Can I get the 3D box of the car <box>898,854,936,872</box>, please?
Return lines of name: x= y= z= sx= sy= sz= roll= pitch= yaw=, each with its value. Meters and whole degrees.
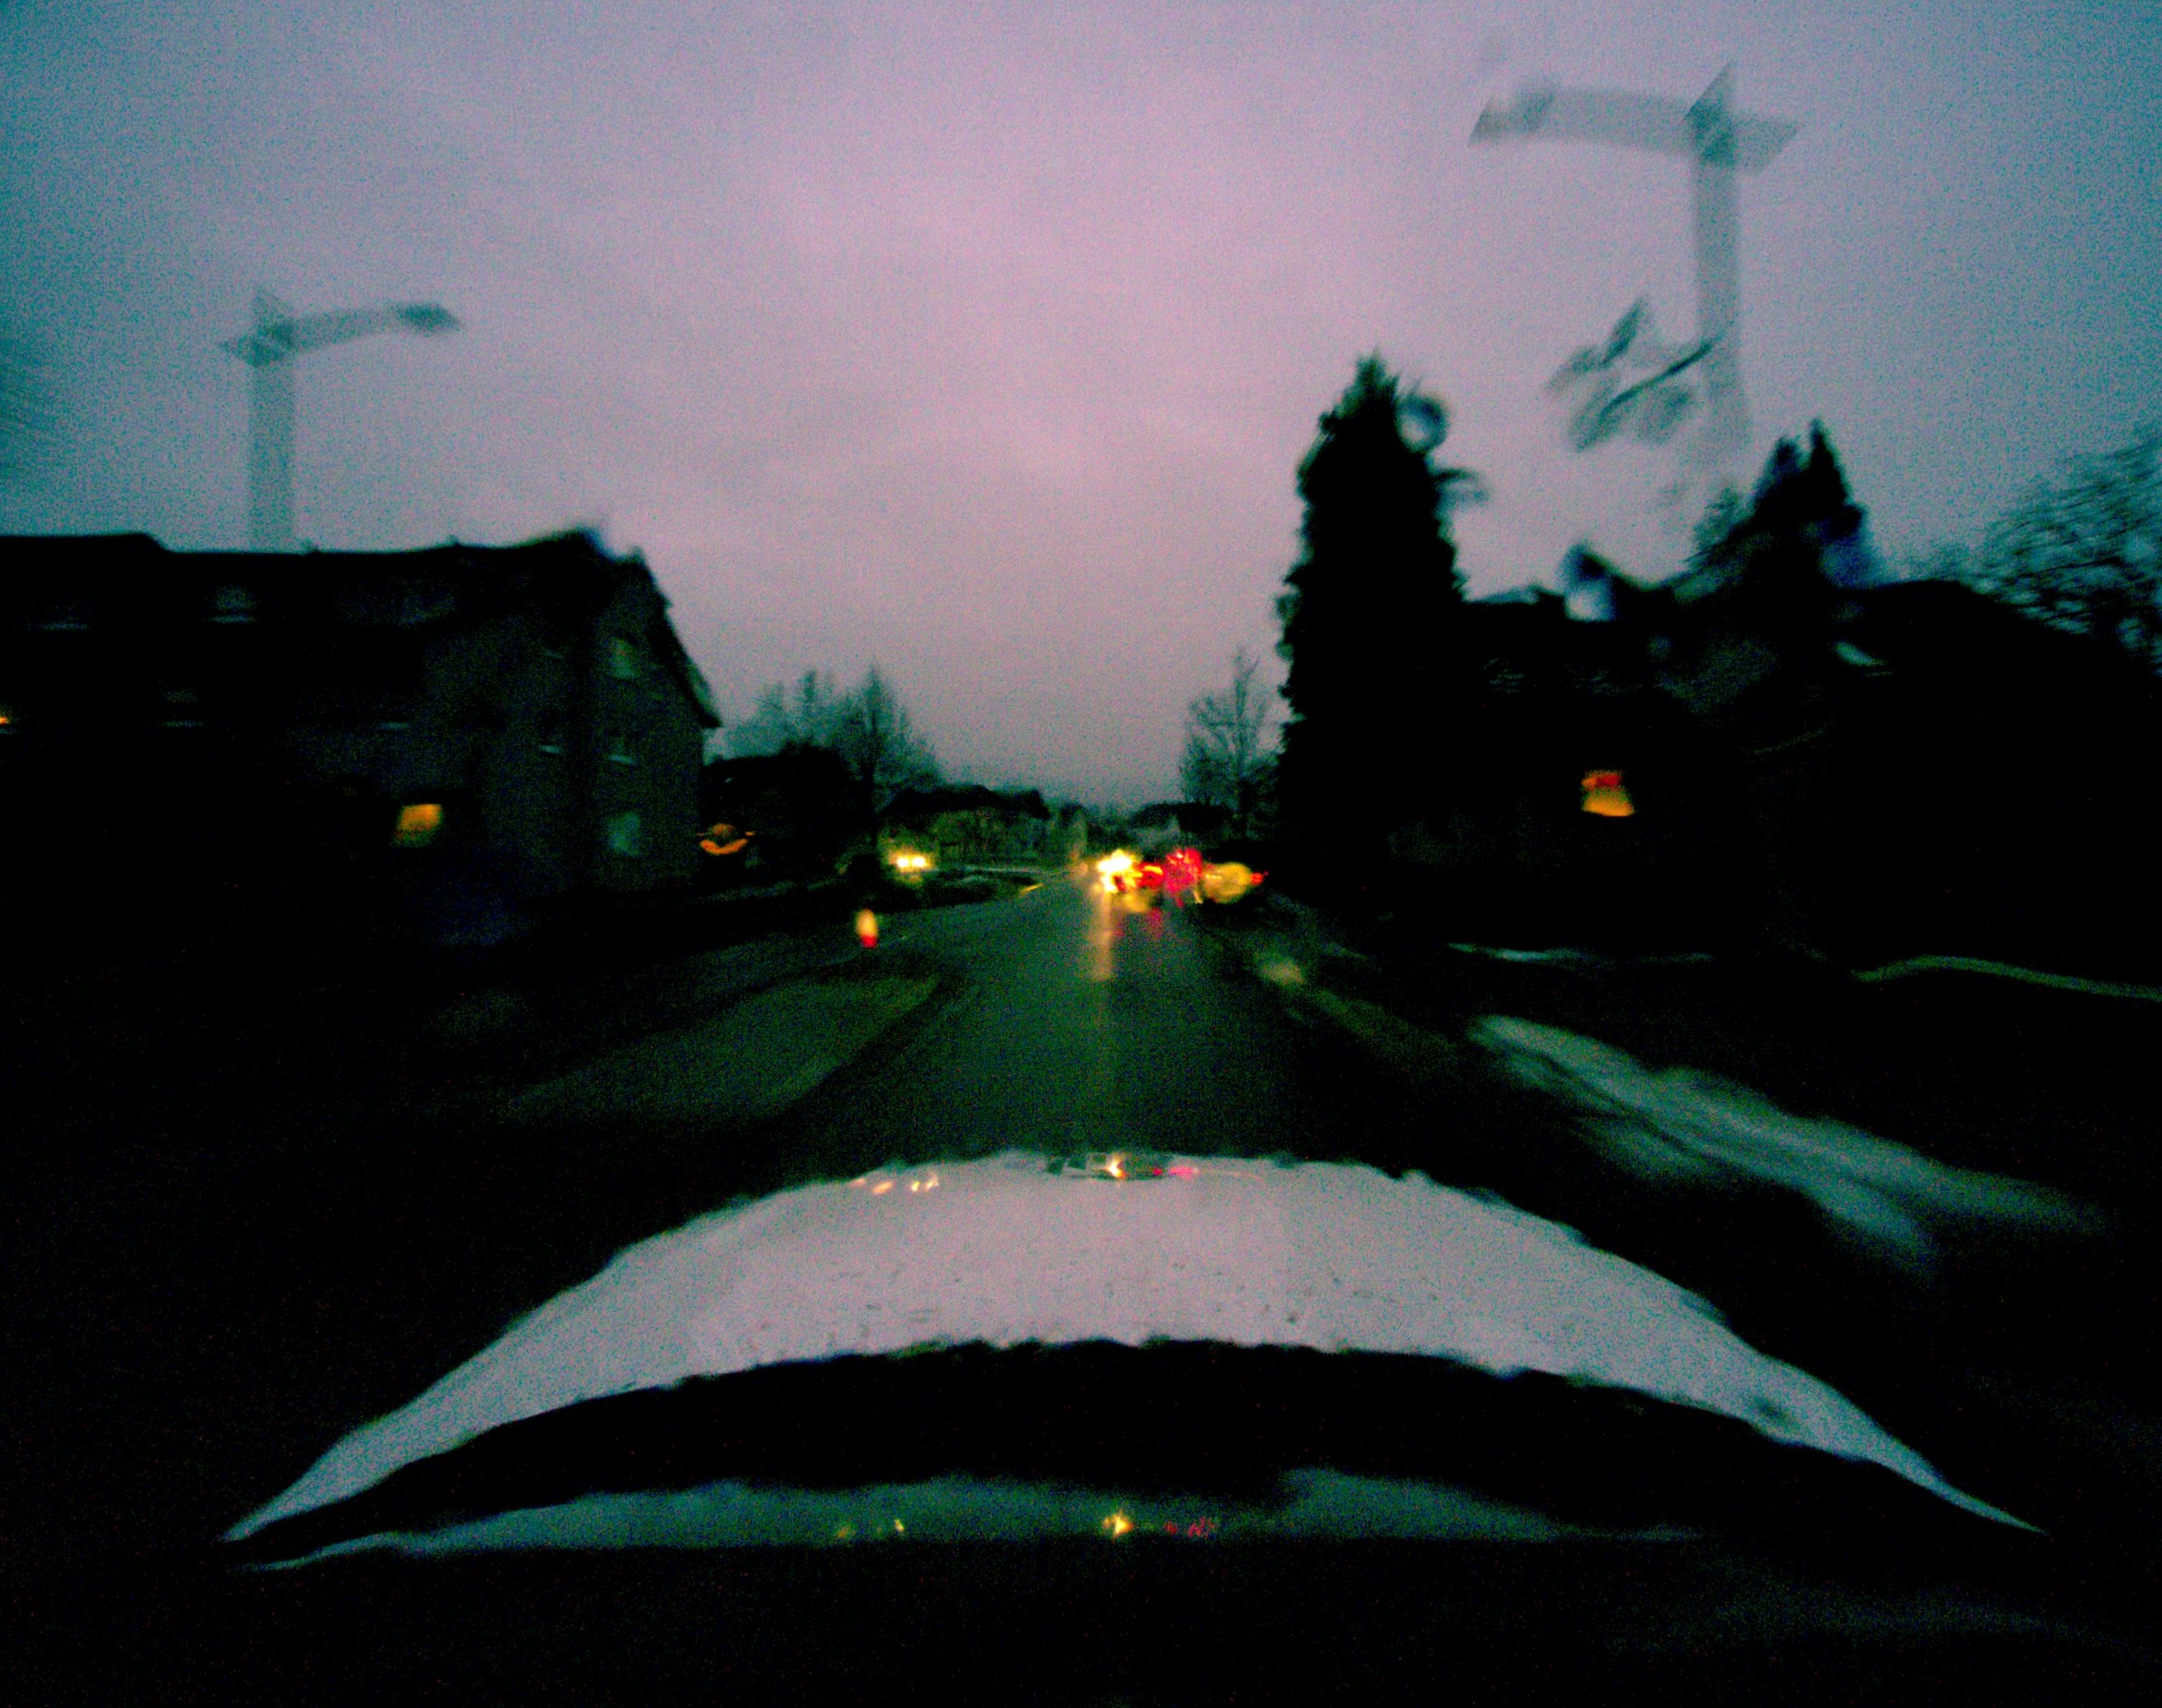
car: x=-13.924 y=0.706 z=69.282 sx=1.378 sy=1.437 sz=4.354 roll=1 pitch=1 yaw=15

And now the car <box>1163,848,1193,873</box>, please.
car: x=8.218 y=0.544 z=68.682 sx=1.979 sy=2.014 sz=4.016 roll=0 pitch=-1 yaw=15

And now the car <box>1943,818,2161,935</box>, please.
car: x=16.338 y=0.326 z=12.631 sx=3.976 sy=1.645 sz=1.893 roll=-1 pitch=-2 yaw=-2

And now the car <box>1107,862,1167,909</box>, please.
car: x=1.910 y=1.055 z=28.923 sx=1.986 sy=1.525 sz=4.002 roll=0 pitch=0 yaw=2

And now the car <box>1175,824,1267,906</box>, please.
car: x=3.946 y=0.274 z=23.878 sx=1.969 sy=2.013 sz=5.751 roll=-3 pitch=0 yaw=4

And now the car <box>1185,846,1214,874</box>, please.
car: x=8.572 y=0.404 z=58.785 sx=1.733 sy=1.785 sz=4.350 roll=-3 pitch=0 yaw=12

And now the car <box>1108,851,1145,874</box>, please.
car: x=3.230 y=0.556 z=57.179 sx=1.894 sy=1.488 sz=4.583 roll=0 pitch=0 yaw=12

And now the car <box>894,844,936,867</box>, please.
car: x=-15.227 y=0.110 z=74.745 sx=1.977 sy=2.013 sz=4.019 roll=1 pitch=0 yaw=19

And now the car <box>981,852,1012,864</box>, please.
car: x=-9.615 y=0.480 z=92.726 sx=1.977 sy=1.307 sz=4.132 roll=1 pitch=1 yaw=19
